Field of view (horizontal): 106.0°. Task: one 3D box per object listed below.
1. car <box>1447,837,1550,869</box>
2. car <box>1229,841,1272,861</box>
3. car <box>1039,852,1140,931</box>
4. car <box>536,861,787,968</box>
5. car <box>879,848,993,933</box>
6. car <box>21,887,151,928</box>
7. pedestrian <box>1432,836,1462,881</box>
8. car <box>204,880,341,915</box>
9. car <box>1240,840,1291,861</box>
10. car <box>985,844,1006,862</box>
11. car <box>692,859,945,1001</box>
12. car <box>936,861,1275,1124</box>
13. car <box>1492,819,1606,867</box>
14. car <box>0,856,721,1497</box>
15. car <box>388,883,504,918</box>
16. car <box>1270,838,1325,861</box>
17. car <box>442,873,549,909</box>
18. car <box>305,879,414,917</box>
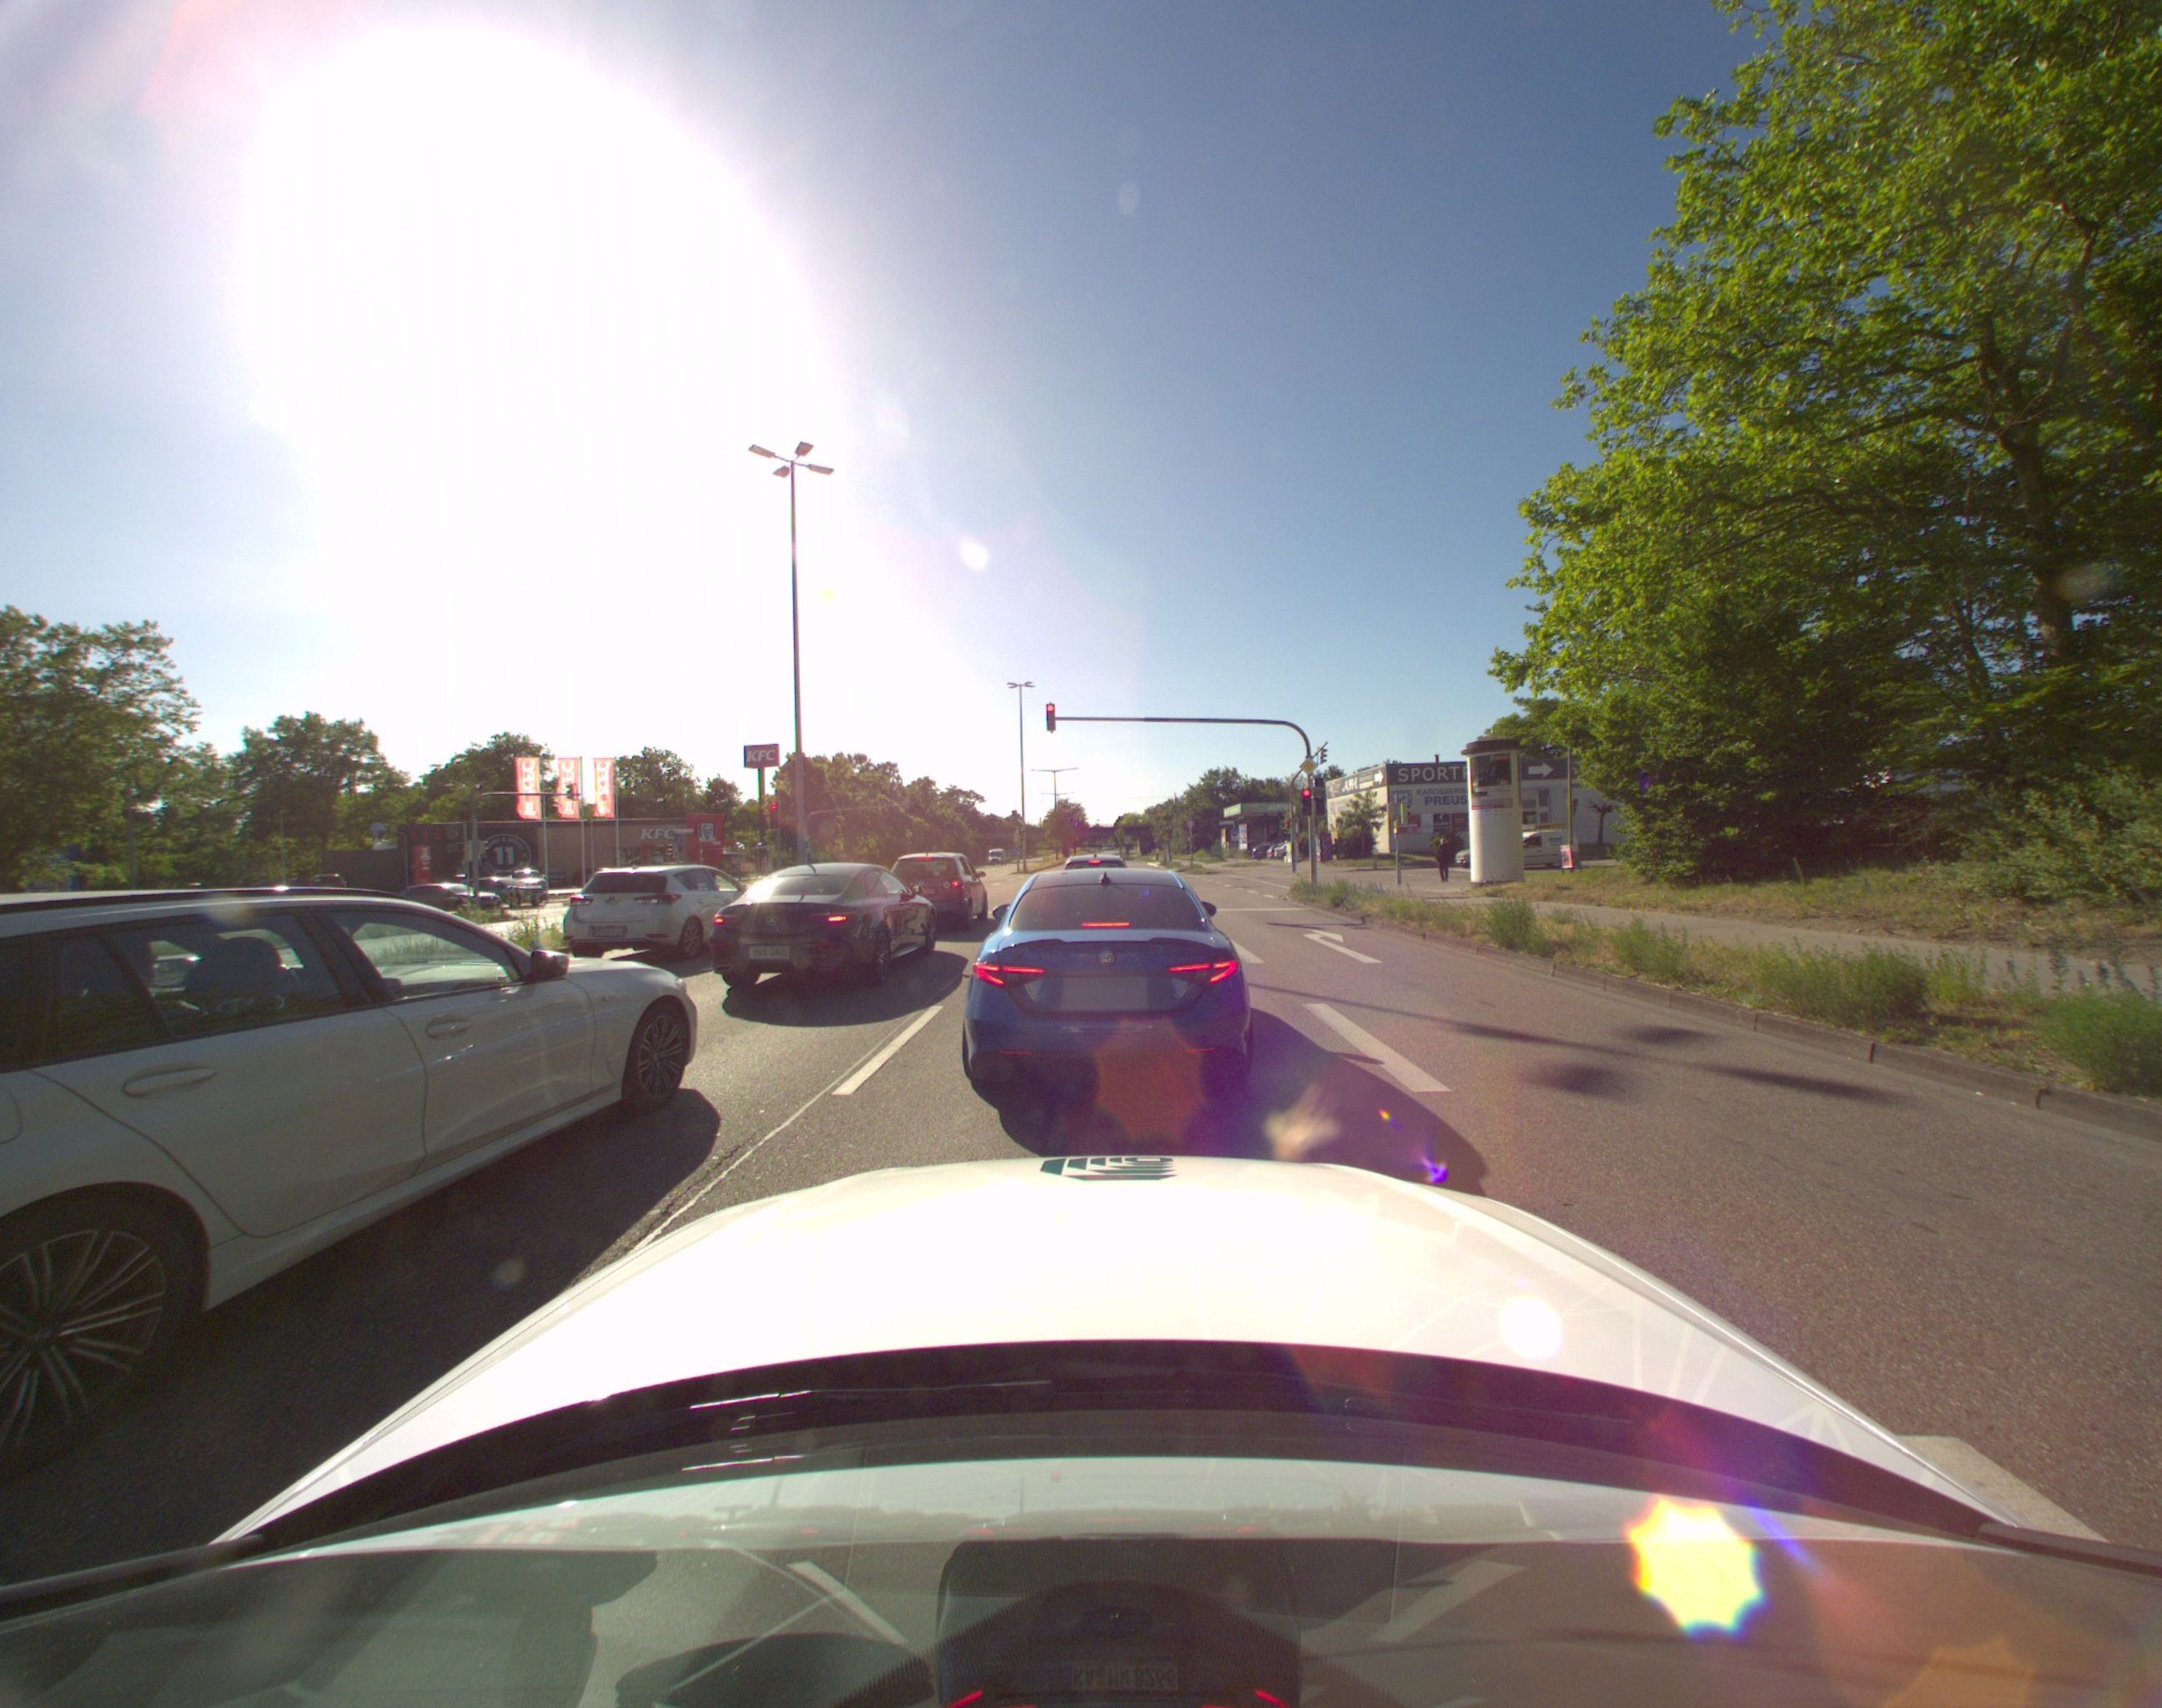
[{"bbox_3d":[21.980,-0.070,43.001,4.393,1.553,1.999,-1,0,-2],"label":"car"},{"bbox_3d":[15.381,-0.251,73.964,3.489,1.706,1.687,-1,0,-14],"label":"car"},{"bbox_3d":[0.228,0.702,17.192,1.859,1.450,3.933,-1,0,2],"label":"car"},{"bbox_3d":[-6.799,0.889,13.856,1.850,1.429,4.405,-1,0,2],"label":"car"},{"bbox_3d":[-3.022,0.699,17.752,1.642,1.598,3.933,-1,0,2],"label":"car"},{"bbox_3d":[-47.141,2.518,38.637,3.972,1.728,1.759,-1,0,1],"label":"car"},{"bbox_3d":[14.257,0.184,31.758,0.818,1.721,0.856,-2,0,9],"label":"pedestrian"},{"bbox_3d":[-38.188,2.052,38.536,4.701,1.429,1.865,-1,1,2],"label":"car"},{"bbox_3d":[16.038,-0.287,70.755,3.997,1.706,1.685,-1,0,-18],"label":"car"},{"bbox_3d":[-12.612,-0.145,120.635,2.423,2.427,5.831,-2,0,0],"label":"car"},{"bbox_3d":[-3.146,0.813,10.829,1.762,1.414,4.463,-1,0,2],"label":"car"},{"bbox_3d":[0.198,0.789,6.488,1.859,1.385,3.933,-1,0,2],"label":"car"},{"bbox_3d":[22.628,-0.516,39.461,4.393,2.145,1.999,-1,0,-2],"label":"car"},{"bbox_3d":[-3.433,0.798,3.356,1.762,1.509,4.463,-1,0,2],"label":"car"},{"bbox_3d":[-29.577,2.167,38.027,4.019,1.429,1.826,-1,0,3],"label":"car"},{"bbox_3d":[17.508,-0.356,65.861,3.993,1.706,1.687,-1,0,-15],"label":"car"},{"bbox_3d":[-29.834,1.863,41.574,4.029,1.595,1.822,-1,0,-4],"label":"car"},{"bbox_3d":[-37.109,2.251,41.956,4.020,1.782,1.826,-1,0,3],"label":"car"}]
